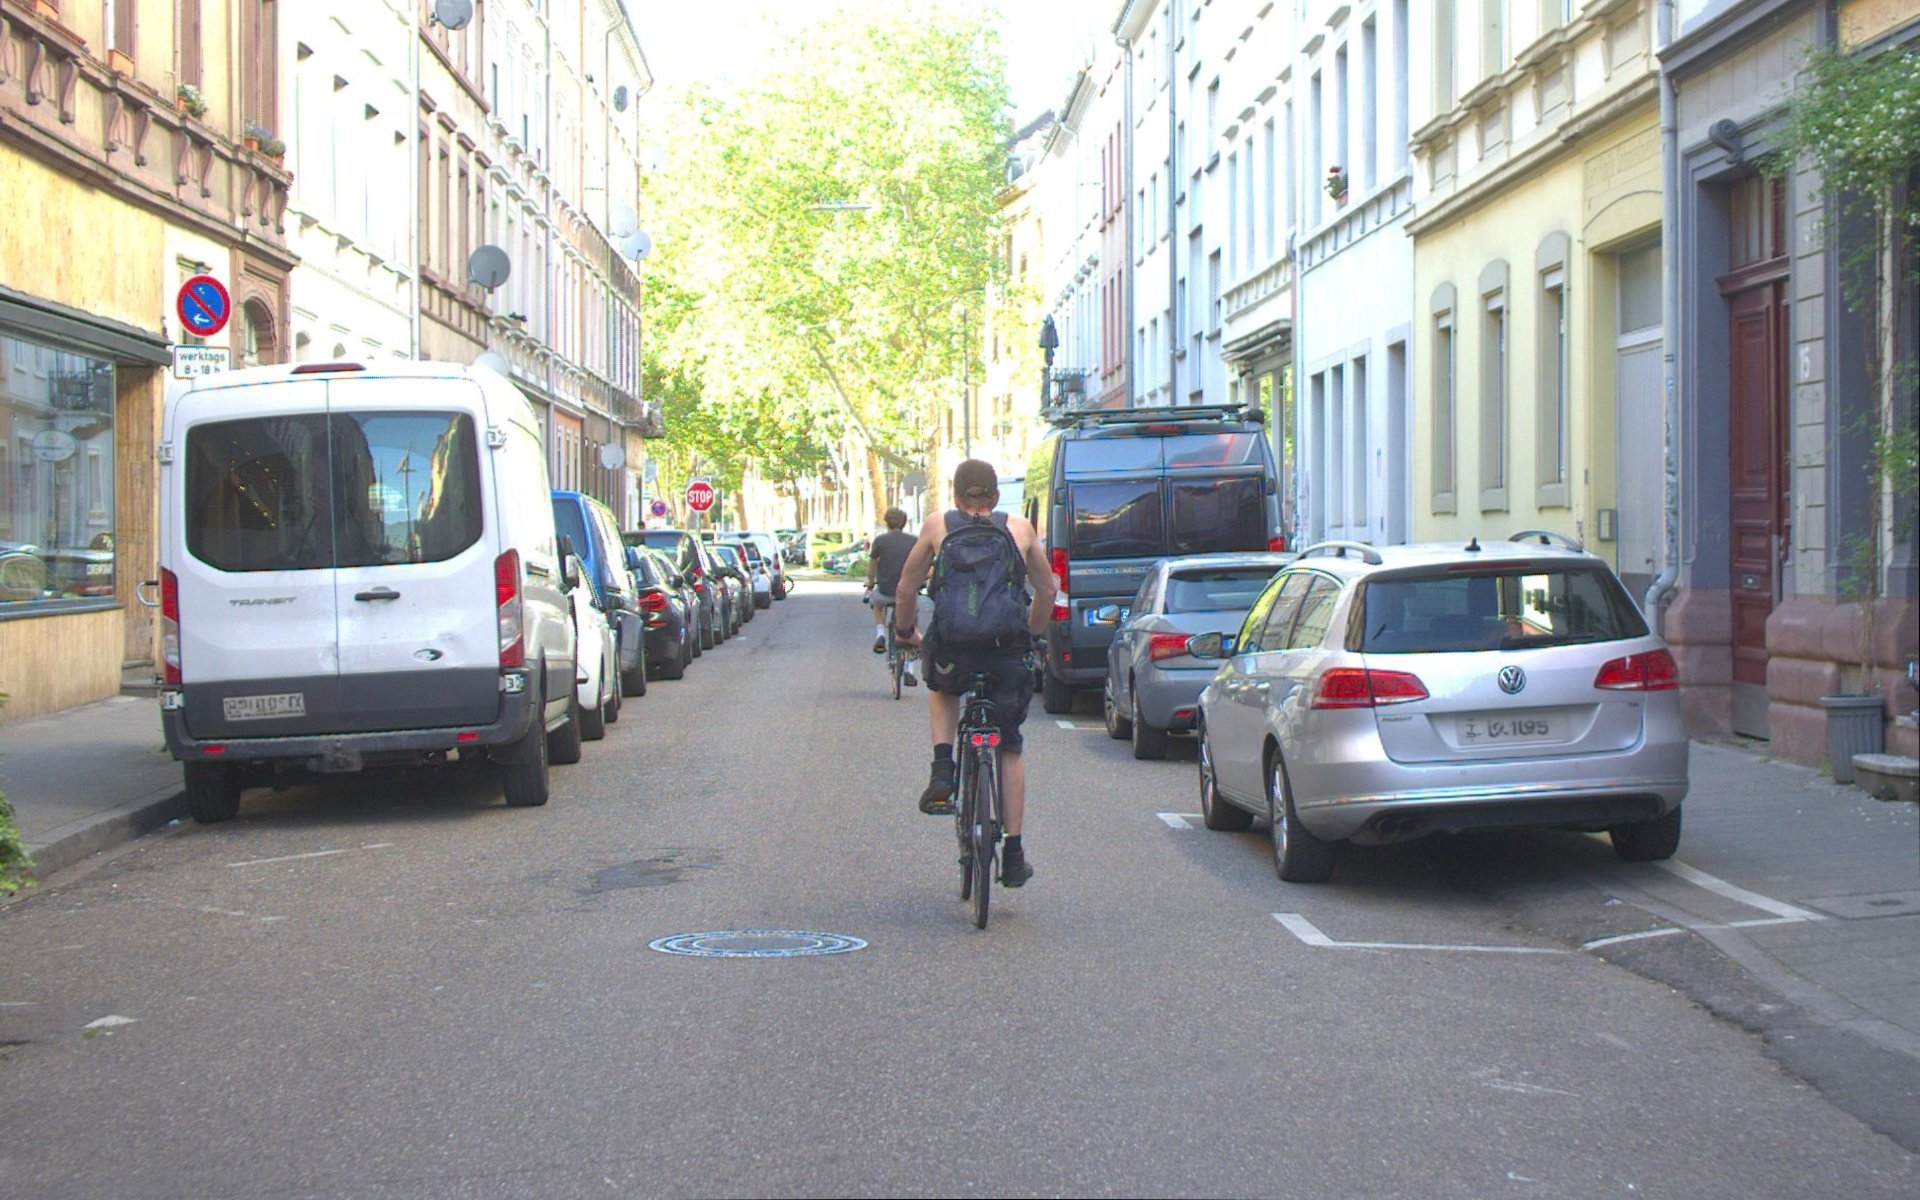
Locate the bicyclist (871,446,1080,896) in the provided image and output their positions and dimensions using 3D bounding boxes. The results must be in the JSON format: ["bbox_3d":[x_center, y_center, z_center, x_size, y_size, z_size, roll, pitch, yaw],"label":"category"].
[{"bbox_3d":[0.042,0.255,13.440,0.740,1.673,1.117,1,1,-2],"label":"bicyclist"}]

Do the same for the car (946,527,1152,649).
[{"bbox_3d":[1.175,-0.212,47.682,1.811,1.473,4.610,-4,2,-11],"label":"car"}]

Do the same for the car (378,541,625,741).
[{"bbox_3d":[-3.580,0.269,27.371,1.645,1.442,3.840,-1,1,-3],"label":"car"}]

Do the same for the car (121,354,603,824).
[{"bbox_3d":[-3.493,-0.123,21.307,2.168,2.443,5.922,-2,1,-3],"label":"car"}]

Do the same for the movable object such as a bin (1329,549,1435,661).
[{"bbox_3d":[4.167,0.046,33.991,0.863,1.039,0.708,-4,1,-3],"label":"movable object such as a bin"}]

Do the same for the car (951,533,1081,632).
[{"bbox_3d":[0.826,-0.298,52.727,1.725,1.424,3.833,-1,1,-3],"label":"car"}]

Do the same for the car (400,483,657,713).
[{"bbox_3d":[-3.923,-0.066,31.955,1.827,1.885,4.614,-3,1,-1],"label":"car"}]

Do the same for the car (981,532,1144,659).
[{"bbox_3d":[1.231,-0.097,42.899,1.746,1.480,4.243,-1,1,-2],"label":"car"}]

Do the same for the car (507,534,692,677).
[{"bbox_3d":[-3.989,0.009,38.652,1.861,1.435,4.646,-1,2,-4],"label":"car"}]

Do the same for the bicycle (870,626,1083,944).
[{"bbox_3d":[0.032,0.685,13.600,0.740,1.097,2.042,1,1,-2],"label":"bicycle"}]

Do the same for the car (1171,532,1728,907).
[{"bbox_3d":[2.174,0.449,16.542,1.786,1.449,4.548,-3,1,-2],"label":"car"}]

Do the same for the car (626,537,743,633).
[{"bbox_3d":[-4.350,-0.264,54.647,1.592,1.435,3.654,-1,1,-1],"label":"car"}]

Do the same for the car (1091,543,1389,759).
[{"bbox_3d":[1.973,0.310,25.360,1.747,1.439,4.172,0,1,-2],"label":"car"}]

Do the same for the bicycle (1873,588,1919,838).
[{"bbox_3d":[4.608,0.495,14.746,0.710,1.093,1.901,-3,1,-4],"label":"bicycle"}]

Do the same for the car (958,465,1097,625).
[{"bbox_3d":[1.108,-0.952,58.167,2.204,2.542,6.036,-1,1,0],"label":"car"}]

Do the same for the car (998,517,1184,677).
[{"bbox_3d":[1.396,-0.079,38.149,1.693,1.602,4.375,-2,1,-2],"label":"car"}]

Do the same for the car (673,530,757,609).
[{"bbox_3d":[-4.936,-0.637,69.632,1.604,1.525,3.379,-2,1,-3],"label":"car"}]

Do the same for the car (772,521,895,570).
[{"bbox_3d":[-4.746,-2.033,128.365,4.468,1.753,1.867,-1,1,-6],"label":"car"}]

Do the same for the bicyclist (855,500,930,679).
[{"bbox_3d":[-0.637,-0.110,32.408,0.669,1.653,0.877,-1,1,-2],"label":"bicyclist"}]

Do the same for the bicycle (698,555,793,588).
[{"bbox_3d":[-6.161,-0.822,98.755,2.715,0.889,0.619,-1,1,-4],"label":"bicycle"}]

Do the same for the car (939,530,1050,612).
[{"bbox_3d":[0.616,-0.570,64.697,1.731,1.465,4.022,-1,1,-4],"label":"car"}]

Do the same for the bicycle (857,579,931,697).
[{"bbox_3d":[-0.632,0.344,32.386,0.664,1.034,1.959,-1,1,-2],"label":"bicycle"}]

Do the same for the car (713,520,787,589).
[{"bbox_3d":[-5.435,-1.196,89.199,1.787,1.731,3.876,-1,1,-2],"label":"car"}]

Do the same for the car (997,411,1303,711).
[{"bbox_3d":[1.614,-0.393,31.668,2.175,2.417,6.310,-2,1,-2],"label":"car"}]

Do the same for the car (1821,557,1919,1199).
[{"bbox_3d":[2.386,0.694,4.405,1.602,1.534,3.450,-3,1,-1],"label":"car"}]

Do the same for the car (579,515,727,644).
[{"bbox_3d":[-4.396,-0.323,49.664,1.801,1.692,4.000,-3,1,-1],"label":"car"}]

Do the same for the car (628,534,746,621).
[{"bbox_3d":[-4.697,-0.418,59.617,1.674,1.425,3.888,-1,1,1],"label":"car"}]

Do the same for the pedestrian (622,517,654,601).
[{"bbox_3d":[-7.179,-0.926,76.708,0.610,1.851,0.754,2,1,-2],"label":"pedestrian"}]

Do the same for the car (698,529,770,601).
[{"bbox_3d":[-5.081,-0.807,77.005,1.544,1.545,3.466,-1,1,-5],"label":"car"}]
